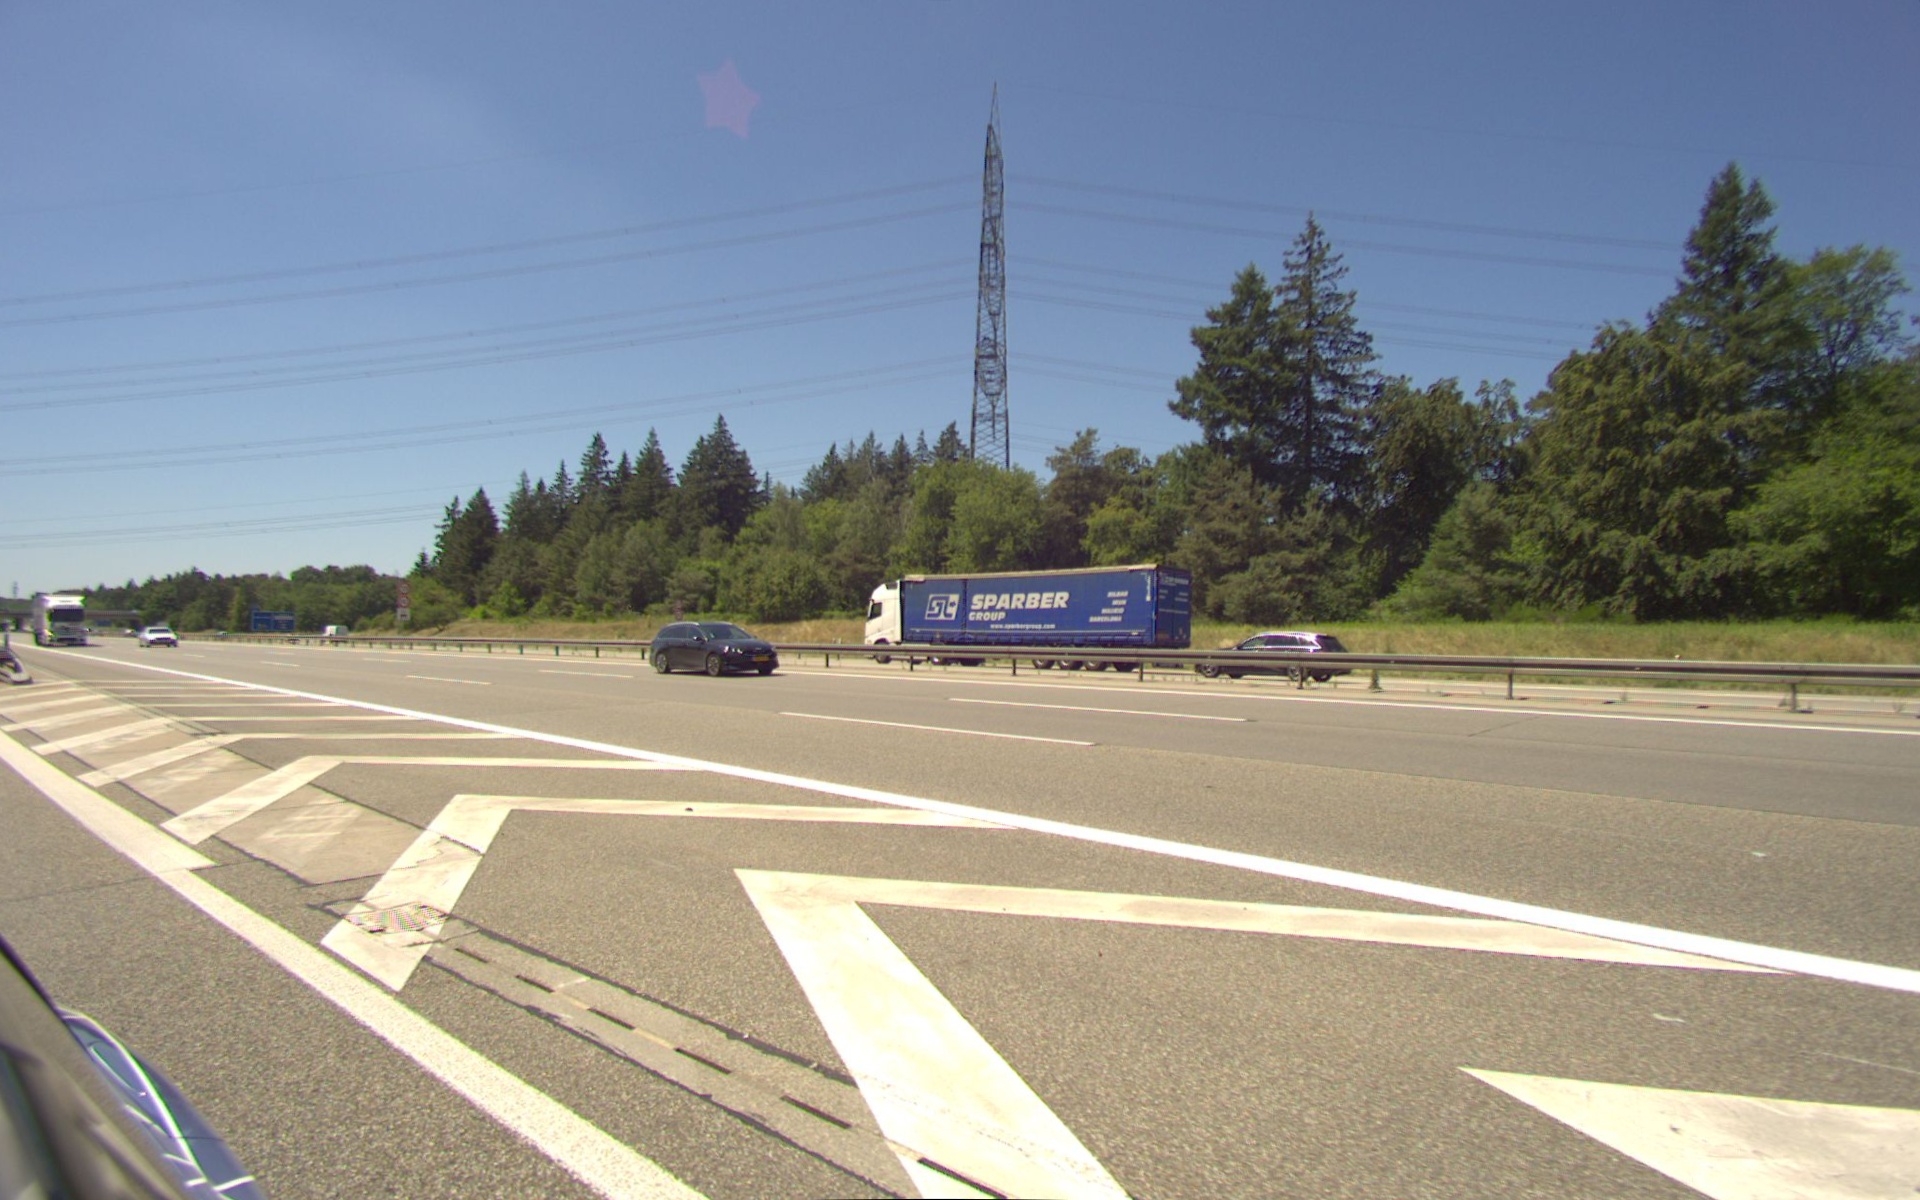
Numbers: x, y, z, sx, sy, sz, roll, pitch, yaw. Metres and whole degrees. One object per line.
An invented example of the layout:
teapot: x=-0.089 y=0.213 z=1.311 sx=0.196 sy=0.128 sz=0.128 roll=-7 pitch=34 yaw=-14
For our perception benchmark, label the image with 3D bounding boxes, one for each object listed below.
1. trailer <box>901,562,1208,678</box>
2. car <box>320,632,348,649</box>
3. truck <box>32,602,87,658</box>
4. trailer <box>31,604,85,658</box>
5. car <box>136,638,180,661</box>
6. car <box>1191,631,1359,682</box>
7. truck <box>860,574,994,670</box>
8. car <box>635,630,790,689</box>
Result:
trailer: x=3.433 y=0.934 z=42.654 sx=13.986 sy=4.204 sz=3.167 roll=-2 pitch=-4 yaw=44
car: x=-96.102 y=6.256 z=155.328 sx=6.458 sy=2.534 sz=2.279 roll=-3 pitch=-3 yaw=44
truck: x=-70.764 y=2.390 z=79.504 sx=2.937 sy=4.174 sz=5.353 roll=1 pitch=-3 yaw=-44
trailer: x=-74.854 y=2.606 z=83.849 sx=2.940 sy=4.174 sz=11.705 roll=1 pitch=-3 yaw=-43
car: x=-59.643 y=3.659 z=75.235 sx=5.407 sy=1.515 sz=1.941 roll=-1 pitch=-1 yaw=45
car: x=9.284 y=1.657 z=30.061 sx=4.433 sy=1.413 sz=1.742 roll=-2 pitch=-4 yaw=43
truck: x=-1.600 y=1.098 z=47.458 sx=5.723 sy=4.204 sz=3.167 roll=-2 pitch=-4 yaw=43
car: x=-6.906 y=1.602 z=27.884 sx=5.001 sy=1.442 sz=1.811 roll=-3 pitch=-2 yaw=44
